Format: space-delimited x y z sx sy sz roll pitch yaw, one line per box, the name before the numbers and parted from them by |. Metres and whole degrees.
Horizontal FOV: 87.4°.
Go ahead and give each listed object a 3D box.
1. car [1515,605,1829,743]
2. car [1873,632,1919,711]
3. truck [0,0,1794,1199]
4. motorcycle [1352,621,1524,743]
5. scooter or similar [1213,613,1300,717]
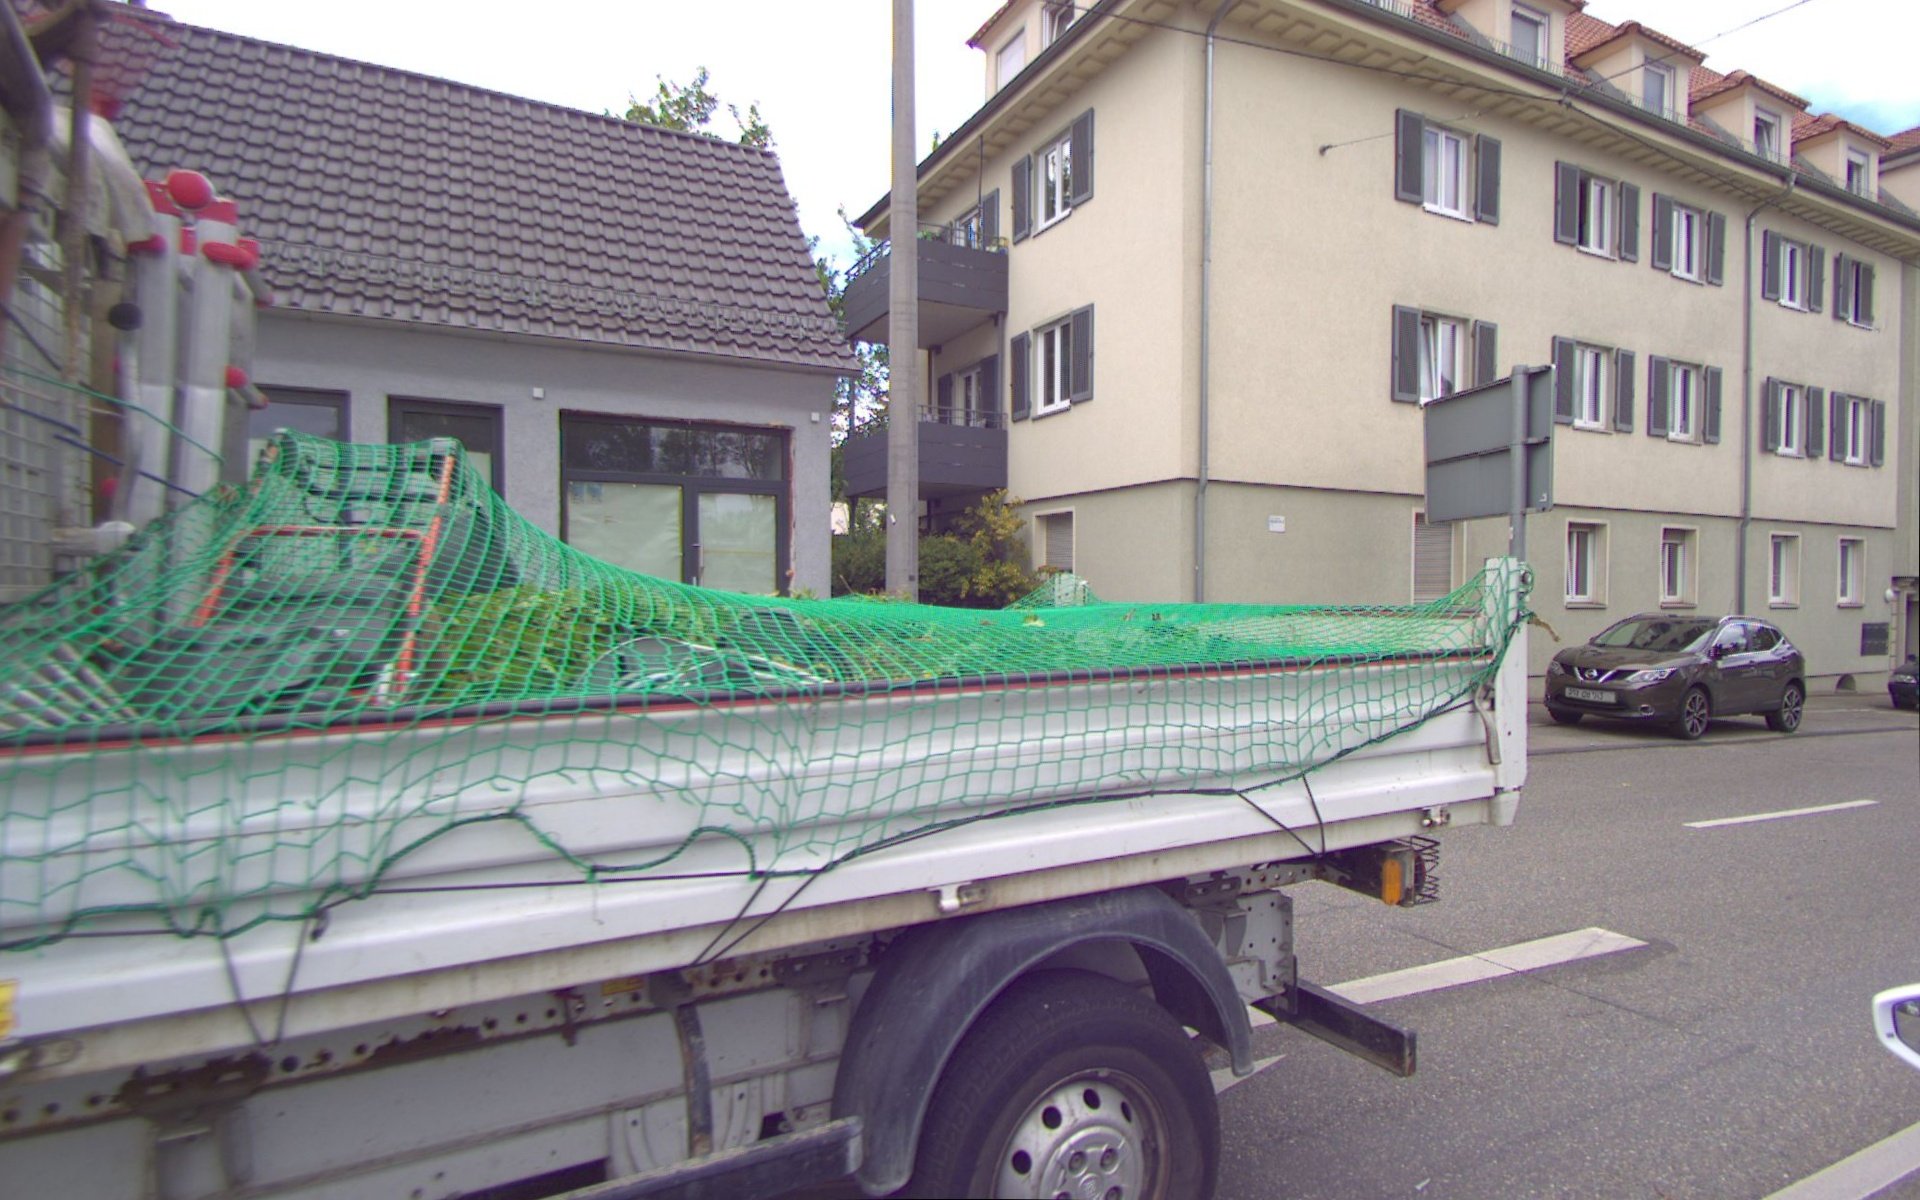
car | 10.215 0.963 14.343 4.639 1.655 1.814 1 1 -29
car | 19.543 1.356 19.112 4.785 1.422 1.703 2 -1 -28
truck | -1.243 0.327 2.061 6.504 2.231 2.113 1 1 -27
motorcycle | 5.657 0.935 11.847 2.203 1.308 0.622 1 2 -29
scooter or similar | 3.826 0.836 12.981 0.966 1.282 0.357 3 1 -3
